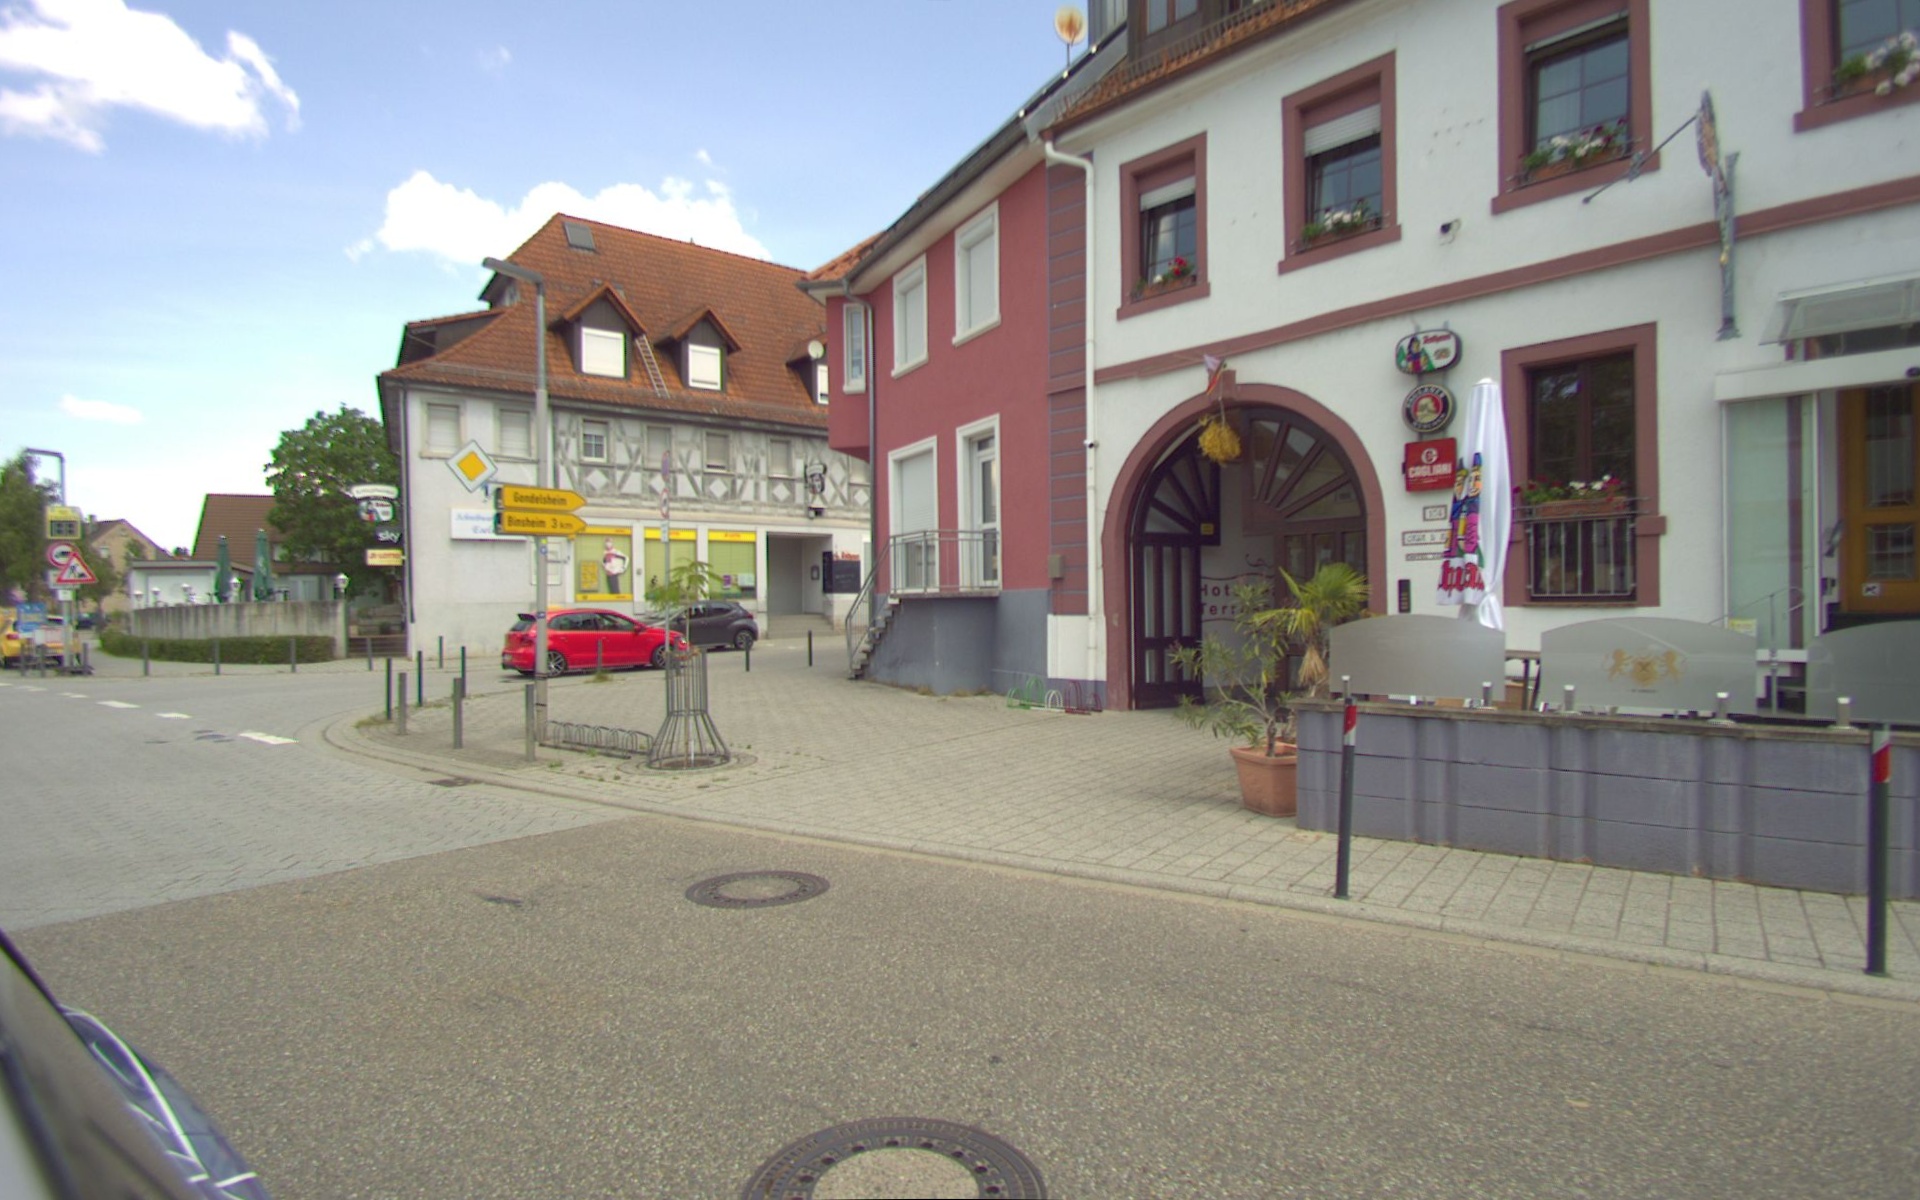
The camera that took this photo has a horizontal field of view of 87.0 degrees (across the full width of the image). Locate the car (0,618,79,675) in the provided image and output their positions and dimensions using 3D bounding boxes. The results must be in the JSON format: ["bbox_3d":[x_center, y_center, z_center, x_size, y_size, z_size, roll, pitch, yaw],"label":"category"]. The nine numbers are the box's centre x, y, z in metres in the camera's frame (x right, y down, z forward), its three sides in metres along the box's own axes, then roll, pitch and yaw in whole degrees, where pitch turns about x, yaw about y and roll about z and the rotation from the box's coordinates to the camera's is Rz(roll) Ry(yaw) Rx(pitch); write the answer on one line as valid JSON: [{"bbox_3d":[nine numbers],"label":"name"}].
[{"bbox_3d":[-26.079,1.256,28.358,3.962,1.486,1.650,-1,-1,42],"label":"car"}]

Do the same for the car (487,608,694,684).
[{"bbox_3d":[-7.910,0.924,21.836,3.826,1.422,1.787,-1,0,-40],"label":"car"}]

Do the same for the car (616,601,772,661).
[{"bbox_3d":[-7.486,0.827,28.634,3.891,1.529,1.776,-1,0,-40],"label":"car"}]

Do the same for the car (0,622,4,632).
[{"bbox_3d":[-110.785,3.097,115.101,3.980,1.068,1.787,-1,0,27],"label":"car"}]

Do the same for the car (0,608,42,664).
[{"bbox_3d":[-36.172,1.331,38.340,1.962,2.005,5.051,-1,0,-42],"label":"car"}]

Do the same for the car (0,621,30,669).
[{"bbox_3d":[-31.196,1.426,32.503,1.795,1.434,4.540,-1,0,-45],"label":"car"}]
